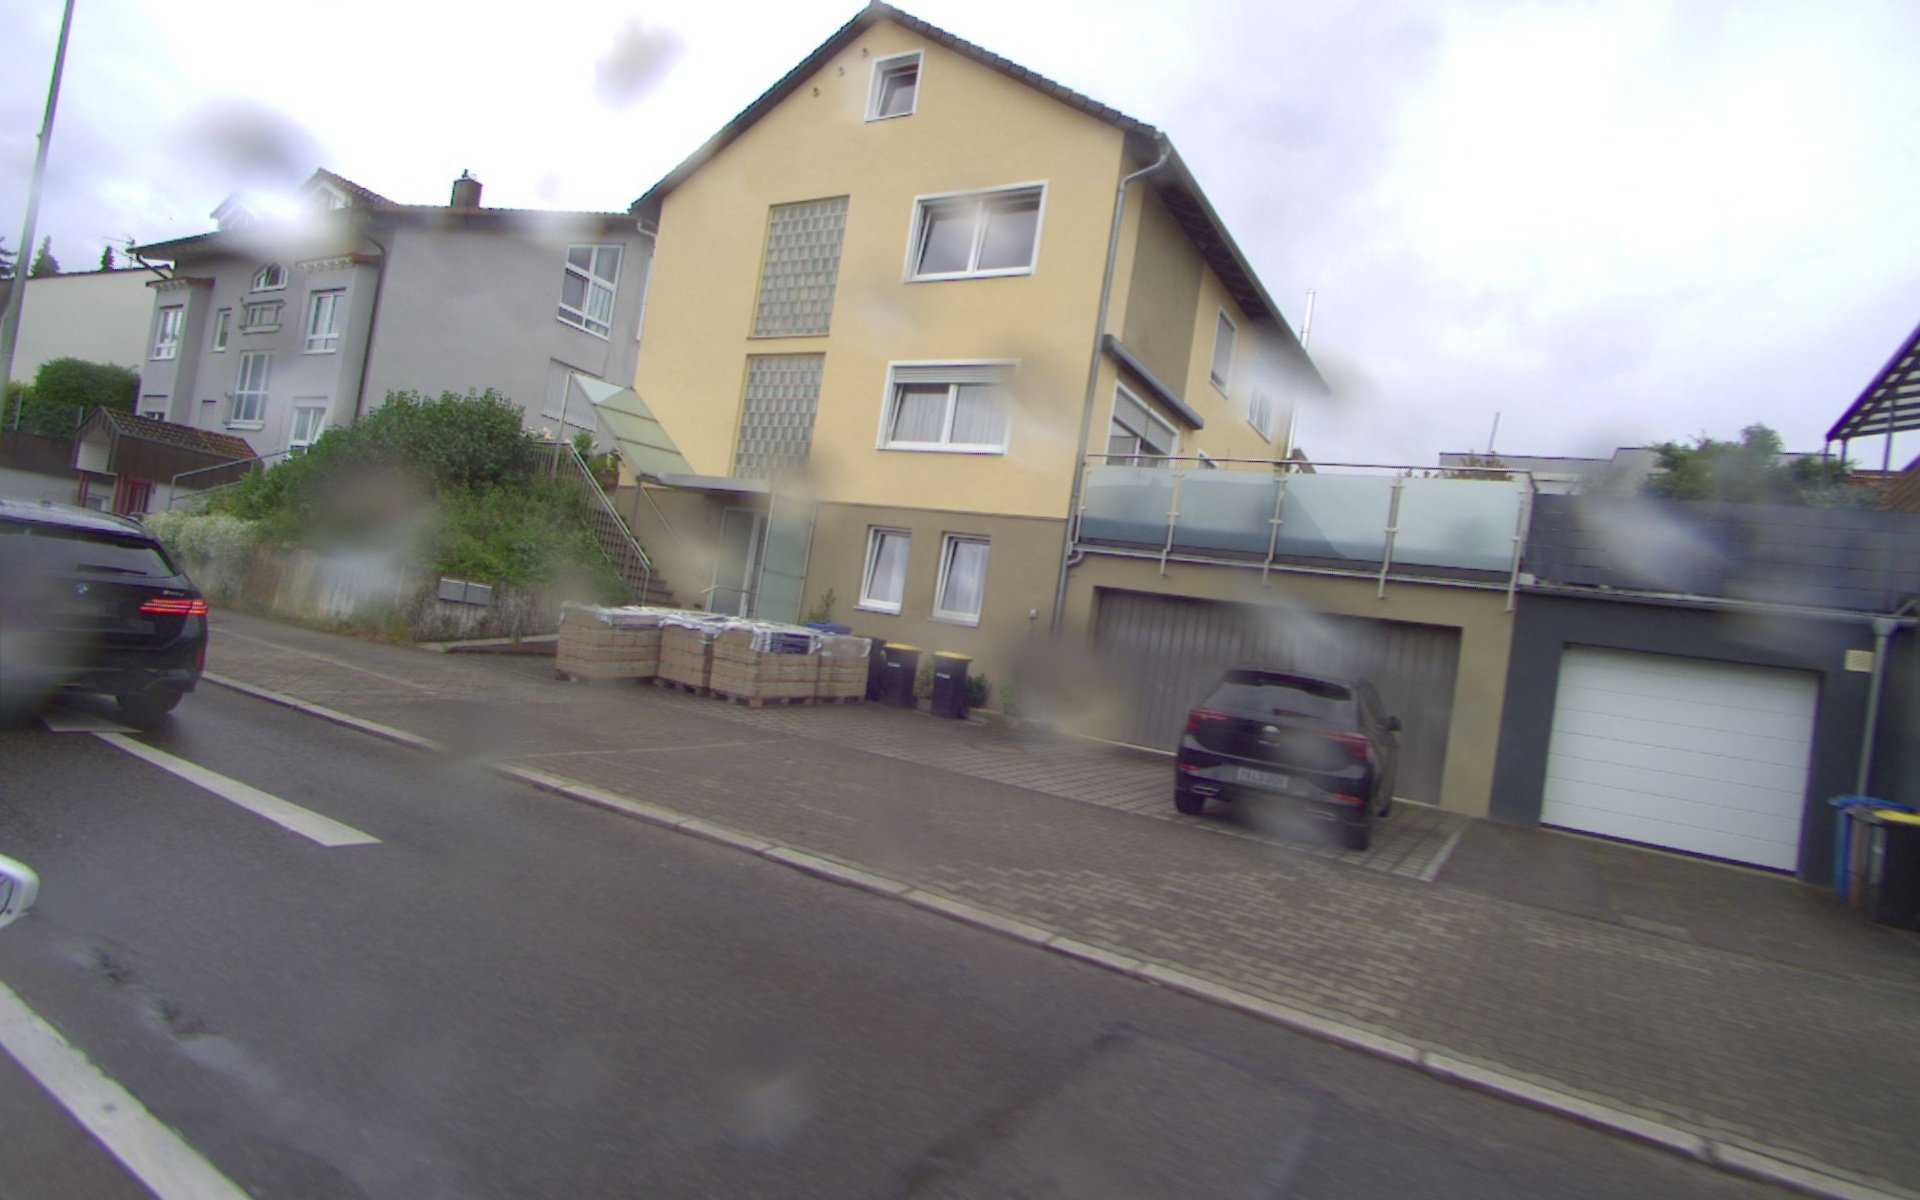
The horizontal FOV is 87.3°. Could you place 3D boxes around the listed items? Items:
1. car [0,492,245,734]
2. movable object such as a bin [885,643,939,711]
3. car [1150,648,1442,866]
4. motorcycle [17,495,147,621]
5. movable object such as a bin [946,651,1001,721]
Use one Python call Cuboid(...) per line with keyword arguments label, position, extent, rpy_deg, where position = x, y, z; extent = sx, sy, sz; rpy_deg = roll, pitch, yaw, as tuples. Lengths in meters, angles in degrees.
Cuboid(label="car", position=(-7.474, -0.062, 7.619), extent=(3.936, 1.500, 1.997), rpy_deg=(6, -3, 34))
Cuboid(label="movable object such as a bin", position=(-0.735, 1.195, 15.557), extent=(0.533, 0.958, 0.491), rpy_deg=(7, -2, 31))
Cuboid(label="car", position=(3.480, 1.399, 9.862), extent=(1.837, 1.450, 3.995), rpy_deg=(7, -2, 30))
Cuboid(label="motorcycle", position=(-12.237, -0.599, 13.997), extent=(2.115, 1.528, 0.704), rpy_deg=(7, 1, 32))
Cuboid(label="movable object such as a bin", position=(0.203, 1.288, 15.026), extent=(0.533, 0.958, 0.491), rpy_deg=(7, -2, 31))
